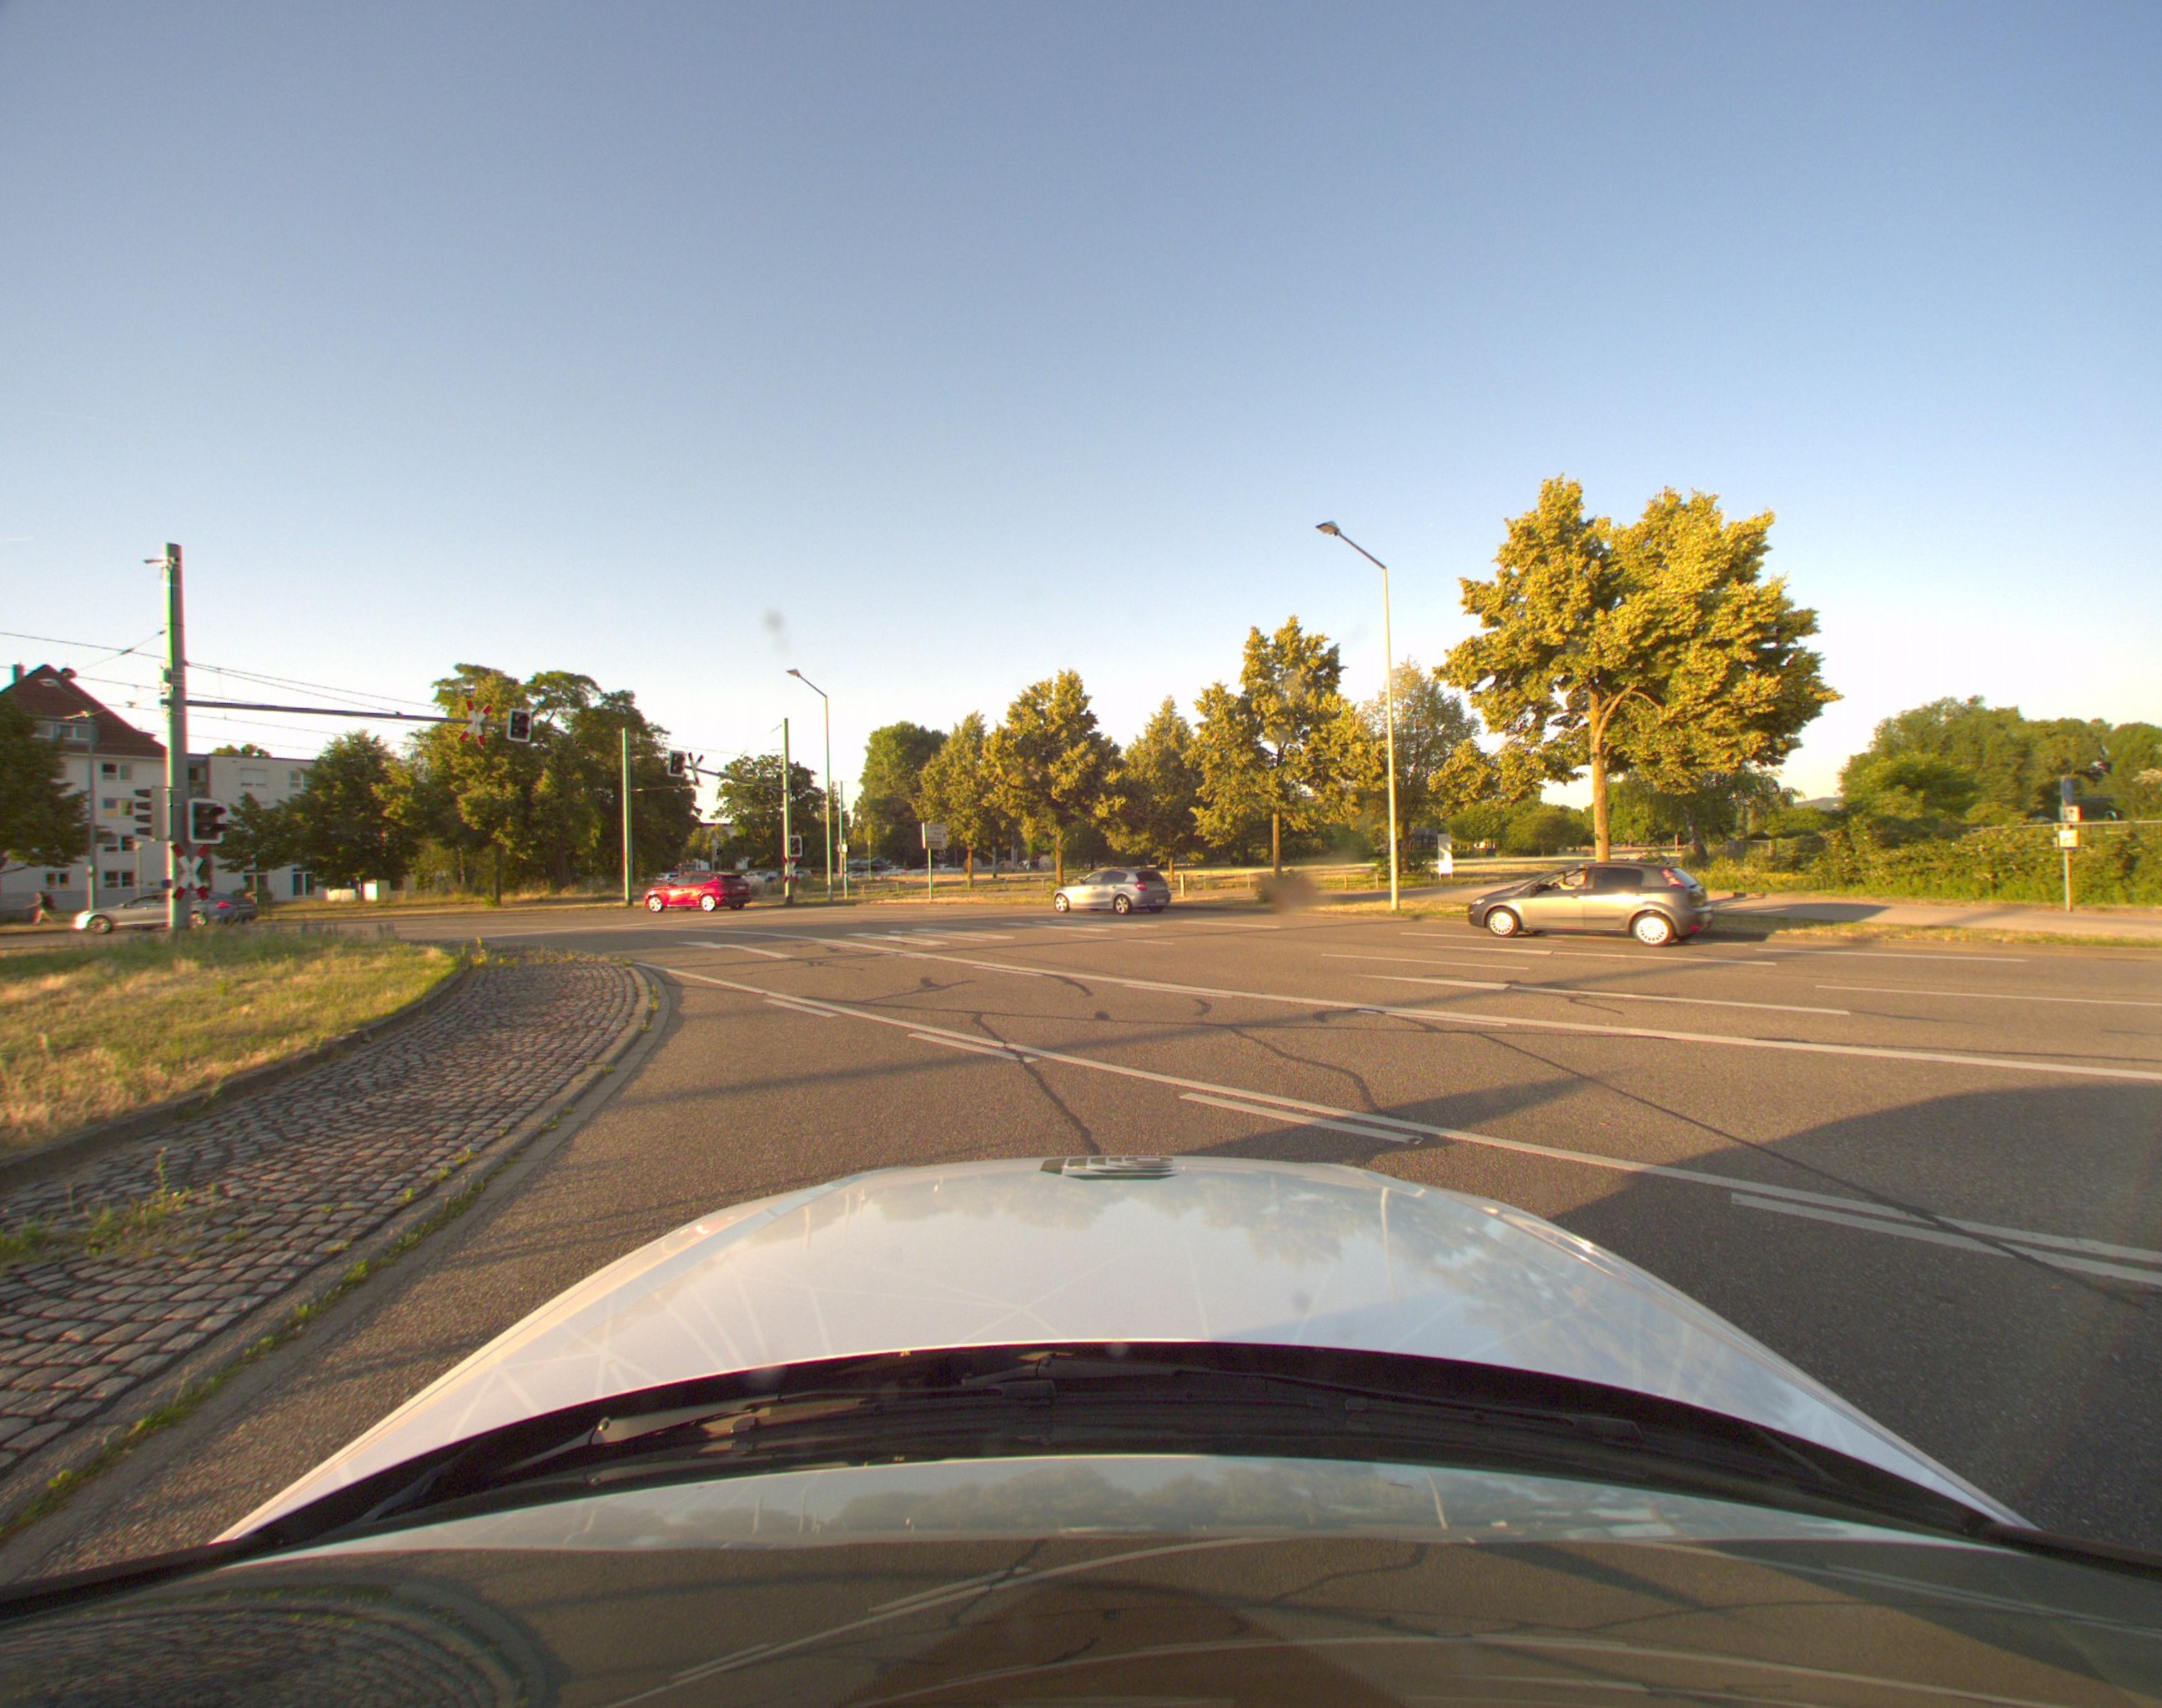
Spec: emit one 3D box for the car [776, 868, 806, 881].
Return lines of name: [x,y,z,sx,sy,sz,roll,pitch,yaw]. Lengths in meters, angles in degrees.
car: [-41.274,2.895,116.005,4.001,1.662,1.889,-2,0,-20]

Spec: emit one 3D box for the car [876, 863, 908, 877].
car: [-29.351,2.427,126.708,4.578,2.013,1.995,-2,0,-7]

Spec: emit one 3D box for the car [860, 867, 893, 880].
car: [-26.646,2.494,105.995,3.948,1.604,2.013,-2,0,34]

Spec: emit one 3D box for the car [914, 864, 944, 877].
car: [-21.442,2.326,114.794,3.948,1.604,2.013,-2,0,34]

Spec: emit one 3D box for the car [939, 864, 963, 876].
car: [-20.813,2.539,129.996,2.008,1.752,4.549,-1,1,-35]

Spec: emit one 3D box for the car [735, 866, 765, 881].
car: [-48.086,2.792,118.368,4.006,2.013,1.984,-2,0,-24]

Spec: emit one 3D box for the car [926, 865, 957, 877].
car: [-19.966,2.383,116.488,3.948,1.604,2.013,-2,0,34]

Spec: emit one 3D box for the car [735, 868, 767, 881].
car: [-46.204,2.797,113.954,4.005,1.662,1.984,-2,0,-24]

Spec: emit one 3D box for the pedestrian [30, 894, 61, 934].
pedestrian: [-50.112,2.889,39.412,0.666,1.893,0.619,0,-1,-4]

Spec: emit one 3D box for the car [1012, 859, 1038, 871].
car: [-7.930,1.533,115.268,1.748,1.618,3.954,-1,0,-39]

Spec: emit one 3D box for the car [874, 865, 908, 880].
car: [-27.625,2.695,118.520,4.578,2.013,1.995,-2,0,-7]

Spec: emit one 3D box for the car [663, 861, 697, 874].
car: [-65.636,2.250,133.336,1.974,2.013,4.627,-2,0,32]

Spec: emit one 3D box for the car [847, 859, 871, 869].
car: [-41.718,1.902,153.031,1.974,1.816,4.026,-2,0,37]

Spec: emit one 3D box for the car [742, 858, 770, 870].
car: [-57.808,1.821,144.945,1.974,2.013,4.143,-2,0,36]

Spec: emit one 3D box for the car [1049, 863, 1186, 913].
car: [1.076,1.045,25.654,1.879,1.390,4.111,-1,0,-44]

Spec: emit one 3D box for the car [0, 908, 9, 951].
car: [-44.226,3.023,30.487,4.530,1.637,1.985,-2,0,-23]

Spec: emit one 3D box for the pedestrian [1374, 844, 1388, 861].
pedestrian: [28.863,-0.166,78.366,1.064,1.617,0.911,-2,0,4]

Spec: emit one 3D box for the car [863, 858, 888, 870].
car: [-37.930,1.792,150.052,1.975,2.013,4.025,-2,0,42]

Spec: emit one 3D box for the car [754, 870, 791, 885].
car: [-35.484,2.720,93.680,3.948,1.604,2.013,-2,0,34]

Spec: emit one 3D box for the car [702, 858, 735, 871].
car: [-61.897,1.805,139.075,1.974,2.013,4.628,-2,0,36]

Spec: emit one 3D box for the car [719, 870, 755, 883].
car: [-46.089,3.028,109.155,1.878,1.662,4.026,-2,0,37]

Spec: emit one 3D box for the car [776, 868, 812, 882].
car: [-33.676,2.460,95.439,3.948,1.604,2.013,-2,0,34]

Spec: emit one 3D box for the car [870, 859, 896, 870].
car: [-35.654,1.902,146.446,3.964,1.706,2.005,-2,0,8]

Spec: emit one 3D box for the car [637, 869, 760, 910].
car: [-16.080,1.478,34.284,4.369,1.573,2.008,-2,0,14]

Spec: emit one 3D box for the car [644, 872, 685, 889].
car: [-42.631,2.688,83.334,3.948,1.604,2.013,-2,0,34]

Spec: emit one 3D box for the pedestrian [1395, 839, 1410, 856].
pedestrian: [30.721,-0.645,77.866,1.064,1.617,0.911,-2,0,4]

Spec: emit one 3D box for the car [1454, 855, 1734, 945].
car: [9.591,0.801,15.497,1.877,1.454,4.113,0,-1,-41]

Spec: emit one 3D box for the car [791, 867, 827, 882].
car: [-32.611,2.470,97.618,3.948,1.604,2.013,-2,0,34]

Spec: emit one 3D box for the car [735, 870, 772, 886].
car: [-37.029,2.718,92.070,3.948,1.604,2.013,-2,0,34]

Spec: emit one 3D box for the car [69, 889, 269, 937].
car: [-33.719,2.139,30.274,4.662,1.464,1.878,-2,0,-14]
